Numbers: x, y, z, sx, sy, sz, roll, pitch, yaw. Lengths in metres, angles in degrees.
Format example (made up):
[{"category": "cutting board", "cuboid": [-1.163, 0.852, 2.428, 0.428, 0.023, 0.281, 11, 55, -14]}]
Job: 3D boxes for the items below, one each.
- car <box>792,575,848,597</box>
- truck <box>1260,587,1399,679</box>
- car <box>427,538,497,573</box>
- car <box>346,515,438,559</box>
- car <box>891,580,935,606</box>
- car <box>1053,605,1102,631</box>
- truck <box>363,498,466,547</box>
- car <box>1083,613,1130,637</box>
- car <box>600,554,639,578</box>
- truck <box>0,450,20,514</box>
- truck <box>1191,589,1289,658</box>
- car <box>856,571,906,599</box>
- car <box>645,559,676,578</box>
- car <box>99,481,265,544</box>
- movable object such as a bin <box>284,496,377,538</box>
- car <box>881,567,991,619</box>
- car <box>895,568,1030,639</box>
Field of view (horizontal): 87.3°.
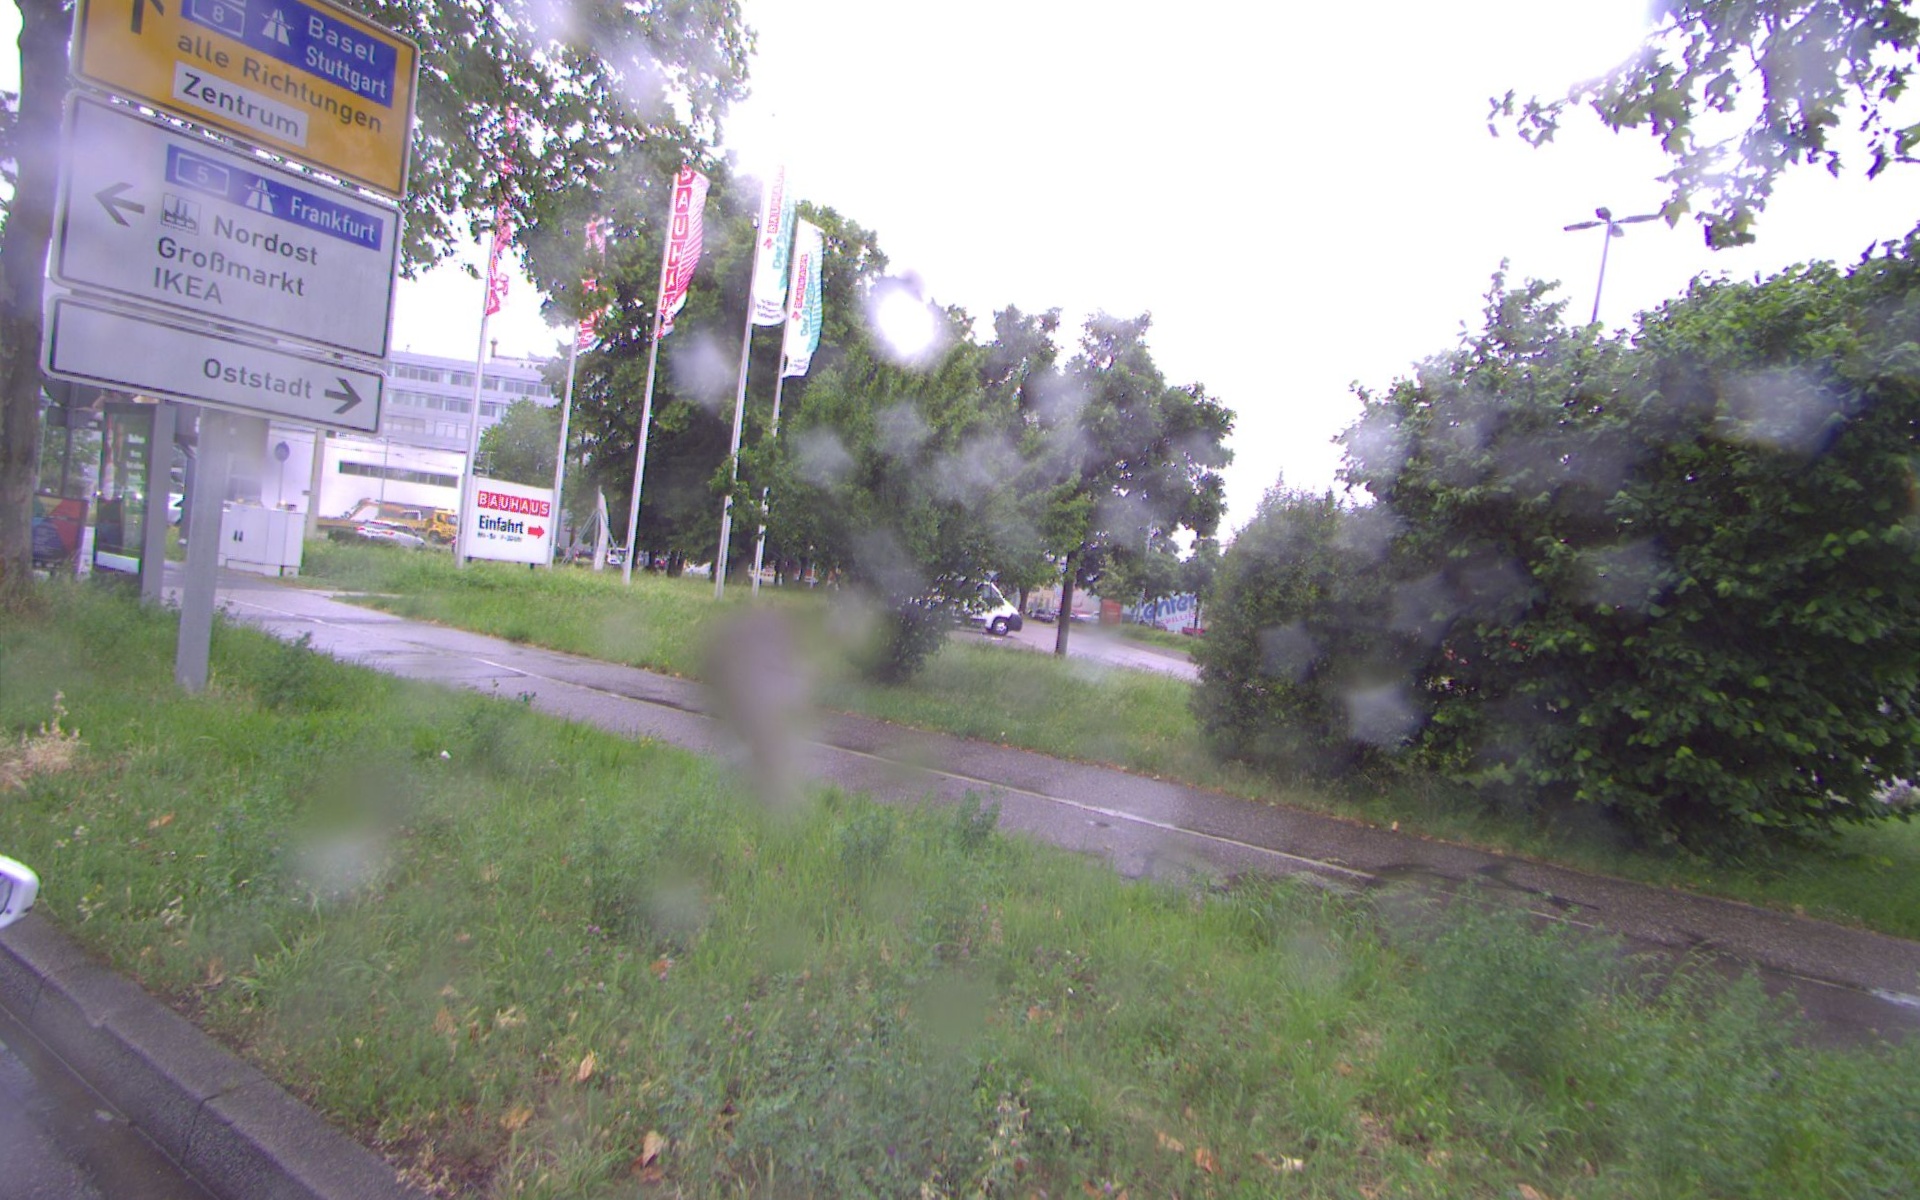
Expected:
[{"category": "car", "cuboid": [-15.410, -1.592, 111.060, 5.853, 1.754, 2.276, 6, 1, -3]}, {"category": "truck", "cuboid": [16.720, 1.334, 46.250, 2.508, 3.513, 8.008, 8, 1, -4]}, {"category": "car", "cuboid": [-28.529, -2.528, 57.827, 1.893, 1.606, 4.622, 6, 0, -4]}, {"category": "car", "cuboid": [-27.571, -3.026, 49.015, 1.892, 1.606, 4.623, 6, 0, -3]}, {"category": "car", "cuboid": [-4.816, -0.680, 103.141, 4.209, 2.075, 1.762, 8, 1, -5]}, {"category": "car", "cuboid": [11.851, 1.833, 101.849, 4.612, 2.038, 2.001, 7, 0, 3]}, {"category": "truck", "cuboid": [-52.669, -7.439, 97.325, 7.747, 3.552, 3.325, 7, 1, -4]}, {"category": "car", "cuboid": [15.611, 2.665, 107.265, 4.612, 2.038, 2.001, 7, 0, 3]}, {"category": "car", "cuboid": [-28.677, -2.857, 84.854, 1.892, 1.606, 4.623, 6, 0, -4]}, {"category": "truck", "cuboid": [-37.906, -4.679, 35.845, 2.437, 2.394, 6.862, 7, 0, -3]}, {"category": "truck", "cuboid": [16.528, 1.327, 60.284, 2.507, 3.511, 9.397, 8, 0, -2]}, {"category": "car", "cuboid": [-7.850, -1.452, 100.583, 4.670, 2.241, 1.964, 6, 1, -2]}, {"category": "car", "cuboid": [-30.420, -3.168, 102.331, 1.892, 1.606, 4.623, 6, 0, -4]}, {"category": "car", "cuboid": [-26.637, -2.950, 34.690, 1.892, 1.509, 4.828, 6, 0, -1]}, {"category": "movable object such as a bin", "cuboid": [-60.584, -7.923, 97.001, 6.601, 3.034, 3.324, 7, 1, -4]}, {"category": "car", "cuboid": [-1.384, -0.411, 57.635, 5.955, 2.232, 2.190, 7, 1, -2]}, {"category": "car", "cuboid": [0.046, 0.120, 40.829, 5.015, 2.232, 2.188, 7, 1, -9]}]
